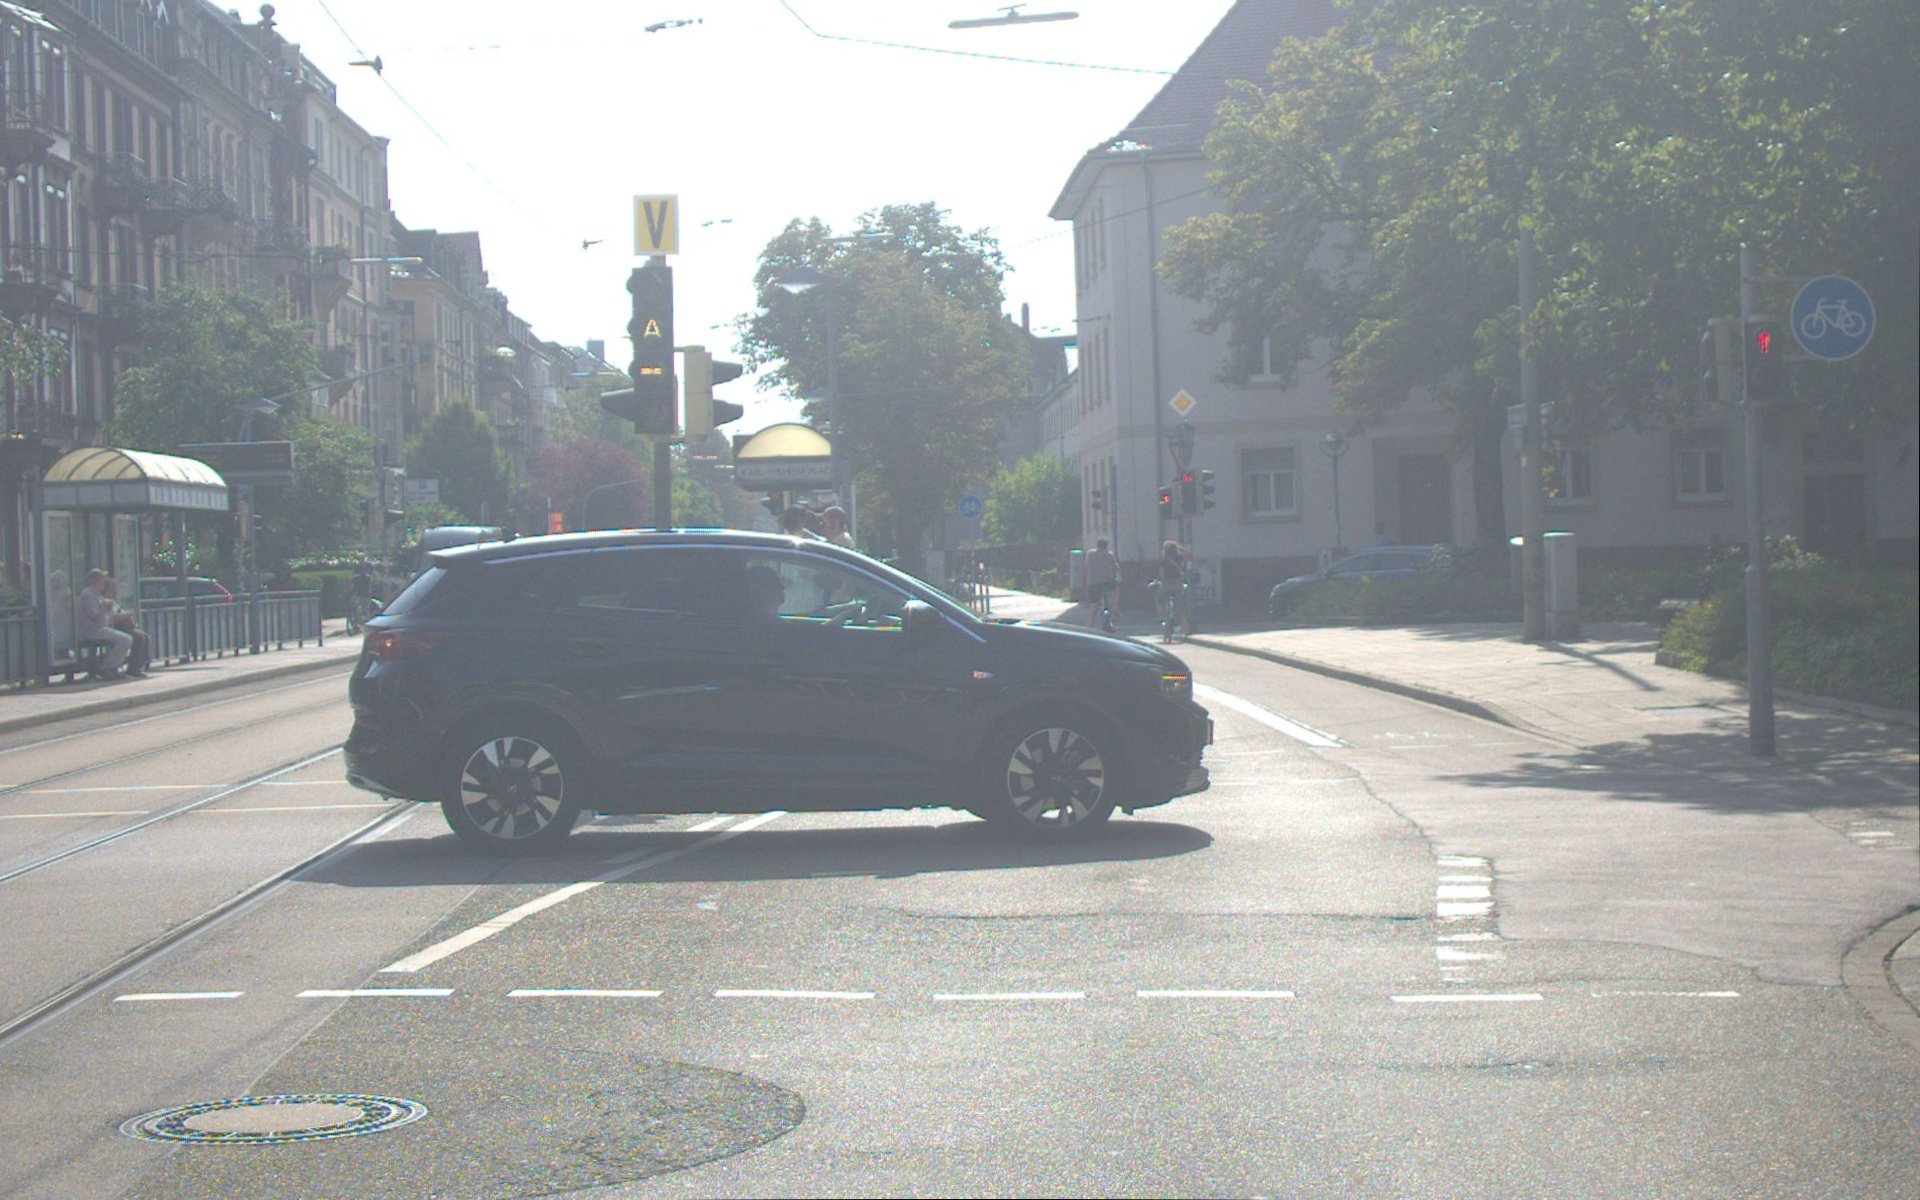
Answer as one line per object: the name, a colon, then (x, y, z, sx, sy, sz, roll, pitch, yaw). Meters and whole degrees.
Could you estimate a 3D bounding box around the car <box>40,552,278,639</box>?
car: (-15.806, -0.095, 67.822, 4.321, 1.564, 2.001, -2, 1, -20)

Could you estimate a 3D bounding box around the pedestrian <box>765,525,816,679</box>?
pedestrian: (-1.964, 0.015, 39.850, 0.543, 1.753, 0.534, 1, 3, -1)

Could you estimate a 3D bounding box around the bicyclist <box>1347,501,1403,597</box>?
bicyclist: (8.165, -0.996, 67.621, 0.987, 1.851, 0.493, -1, 1, 13)

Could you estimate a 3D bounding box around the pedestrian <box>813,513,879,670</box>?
pedestrian: (-1.299, -0.104, 39.234, 0.709, 1.753, 0.534, 1, 3, -1)

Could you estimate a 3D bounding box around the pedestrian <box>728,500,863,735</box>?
pedestrian: (-1.244, 0.116, 26.069, 0.701, 1.719, 0.747, 3, 4, 32)

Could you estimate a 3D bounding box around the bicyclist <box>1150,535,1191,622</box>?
bicyclist: (3.496, -0.362, 57.111, 0.558, 1.412, 0.872, -2, 1, -3)

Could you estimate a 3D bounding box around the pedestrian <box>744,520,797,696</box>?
pedestrian: (-1.929, 0.077, 35.032, 0.504, 1.753, 0.534, 1, 3, -1)

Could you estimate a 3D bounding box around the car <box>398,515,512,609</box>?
car: (-14.951, -1.148, 101.975, 2.347, 2.653, 5.104, -2, 1, 3)

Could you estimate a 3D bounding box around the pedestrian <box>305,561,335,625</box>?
pedestrian: (-17.611, -0.198, 94.634, 0.750, 1.725, 0.772, -2, 1, -10)

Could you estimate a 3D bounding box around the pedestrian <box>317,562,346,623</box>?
pedestrian: (-17.847, -0.215, 97.613, 0.750, 1.725, 0.772, -2, 1, -10)

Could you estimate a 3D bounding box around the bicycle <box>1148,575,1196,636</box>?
bicycle: (3.516, 0.084, 57.104, 0.558, 0.974, 1.856, -2, 1, -3)

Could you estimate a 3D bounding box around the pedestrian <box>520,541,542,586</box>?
pedestrian: (-16.398, -1.394, 131.507, 0.750, 1.725, 0.772, -2, 1, -10)

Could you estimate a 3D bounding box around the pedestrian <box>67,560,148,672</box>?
pedestrian: (-10.564, 0.190, 42.608, 0.827, 1.354, 0.776, -2, 1, -5)

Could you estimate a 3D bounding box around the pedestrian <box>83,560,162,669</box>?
pedestrian: (-10.611, 0.179, 43.585, 0.827, 1.354, 0.776, -2, 1, -5)

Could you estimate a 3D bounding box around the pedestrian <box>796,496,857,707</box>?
pedestrian: (-1.173, 0.007, 30.335, 0.504, 1.827, 0.534, 1, 3, -1)

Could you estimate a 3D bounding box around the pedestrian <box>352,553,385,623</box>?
pedestrian: (-14.750, -0.301, 85.715, 0.750, 1.725, 0.772, -2, 1, -10)

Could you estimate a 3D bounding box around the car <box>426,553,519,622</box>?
car: (-12.278, -0.339, 86.722, 1.801, 1.648, 3.642, -2, 1, 0)

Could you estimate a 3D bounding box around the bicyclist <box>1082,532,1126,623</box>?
bicyclist: (2.417, -0.384, 57.645, 0.629, 1.502, 0.678, -2, 1, -3)

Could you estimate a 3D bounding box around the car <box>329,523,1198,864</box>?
car: (-1.026, 0.428, 17.633, 4.213, 1.510, 1.612, -2, 2, -7)

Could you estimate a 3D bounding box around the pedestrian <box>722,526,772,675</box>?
pedestrian: (-2.556, 0.002, 41.263, 0.532, 1.753, 0.545, 1, 3, 0)

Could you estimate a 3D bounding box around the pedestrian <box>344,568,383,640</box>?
pedestrian: (-14.475, 0.095, 83.390, 0.750, 1.725, 0.771, -2, 1, 1)

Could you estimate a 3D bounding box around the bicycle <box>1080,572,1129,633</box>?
bicycle: (2.423, 0.029, 57.653, 0.629, 0.974, 1.770, -2, 1, -3)
